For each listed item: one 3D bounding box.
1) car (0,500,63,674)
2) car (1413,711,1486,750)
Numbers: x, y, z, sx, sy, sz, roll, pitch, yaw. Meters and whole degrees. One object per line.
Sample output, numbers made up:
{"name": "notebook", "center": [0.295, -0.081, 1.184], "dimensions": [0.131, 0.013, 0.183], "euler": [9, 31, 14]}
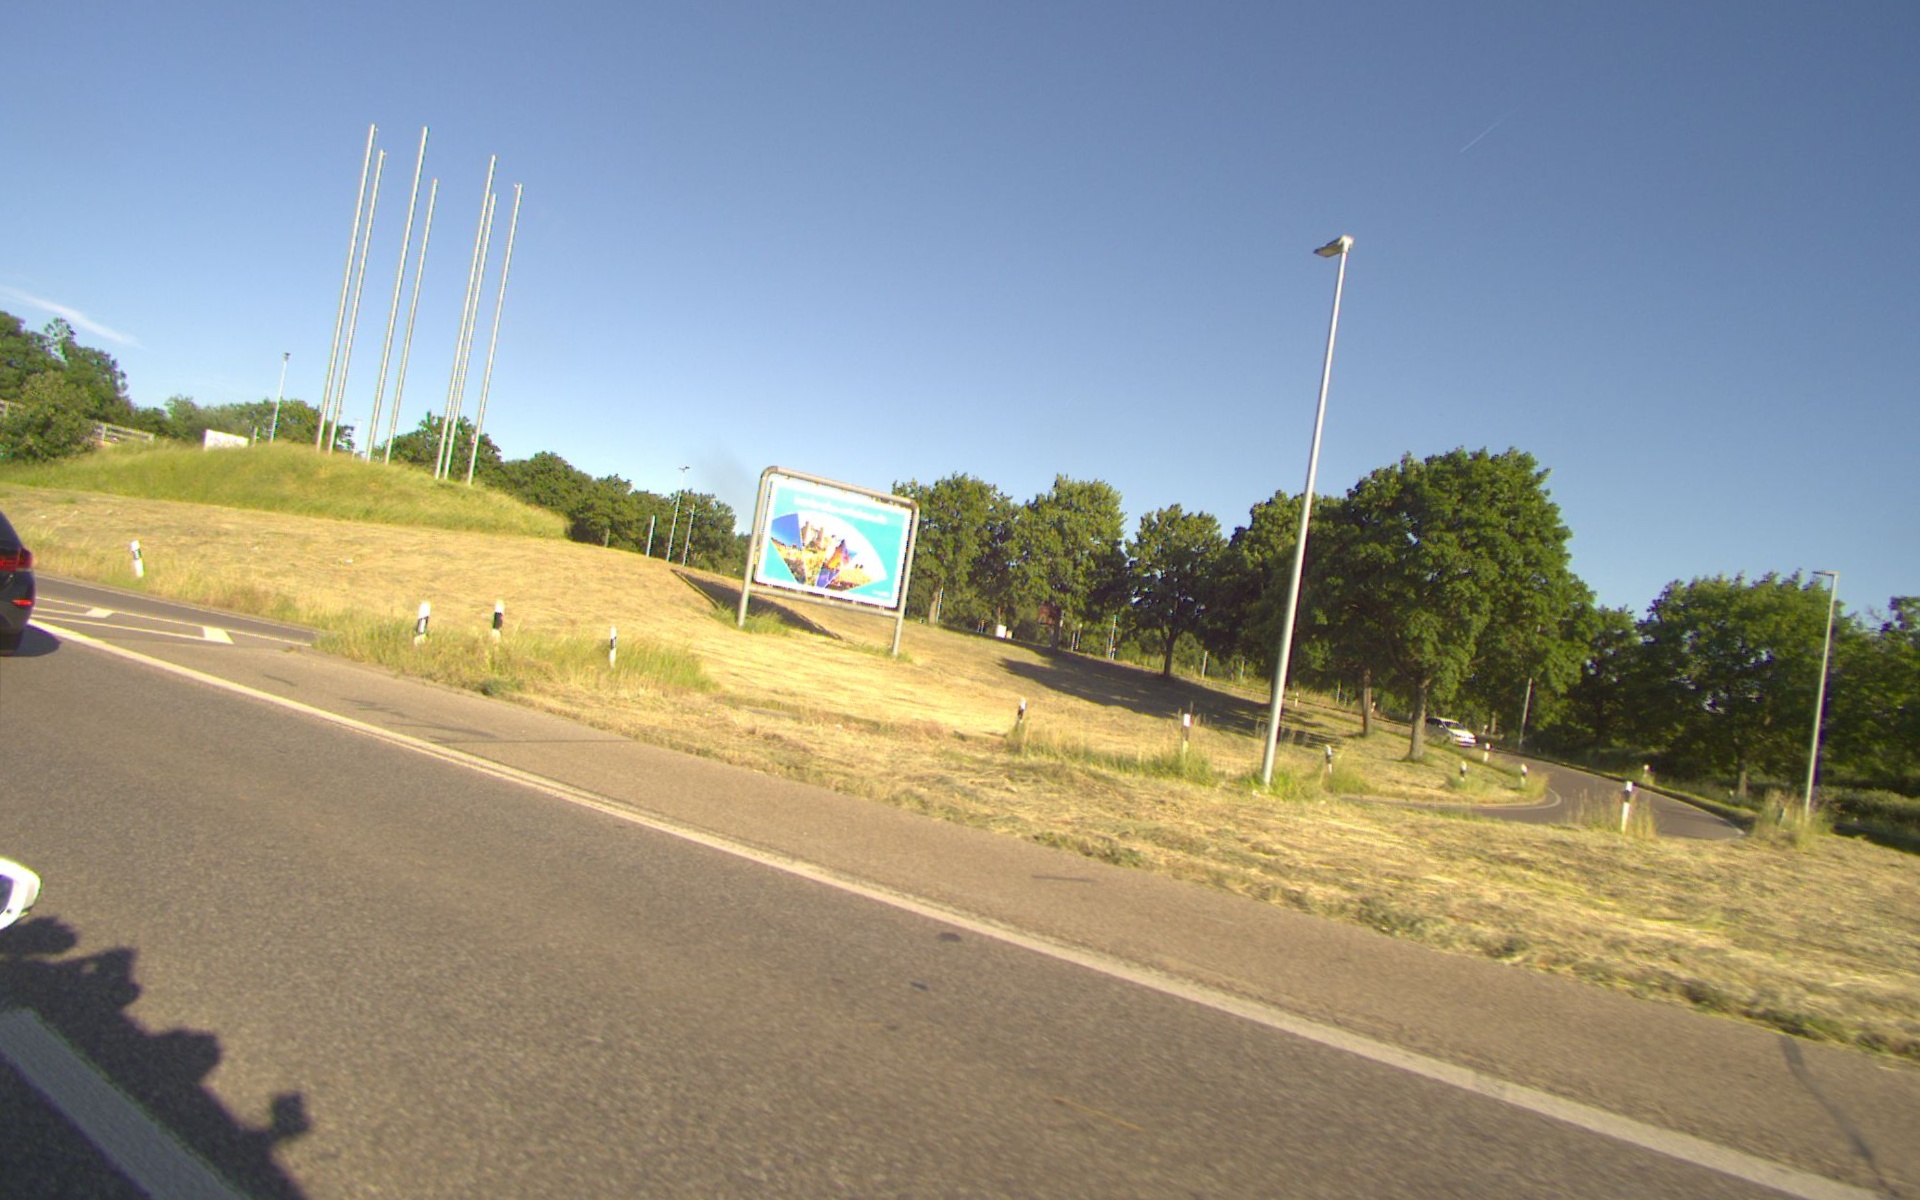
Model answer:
{"name": "car", "center": [-10.660, -0.389, 9.580], "dimensions": [4.500, 1.524, 1.702], "euler": [7, 0, 29]}
{"name": "car", "center": [29.814, 7.918, 61.385], "dimensions": [1.838, 1.711, 3.995], "euler": [8, -2, -9]}
